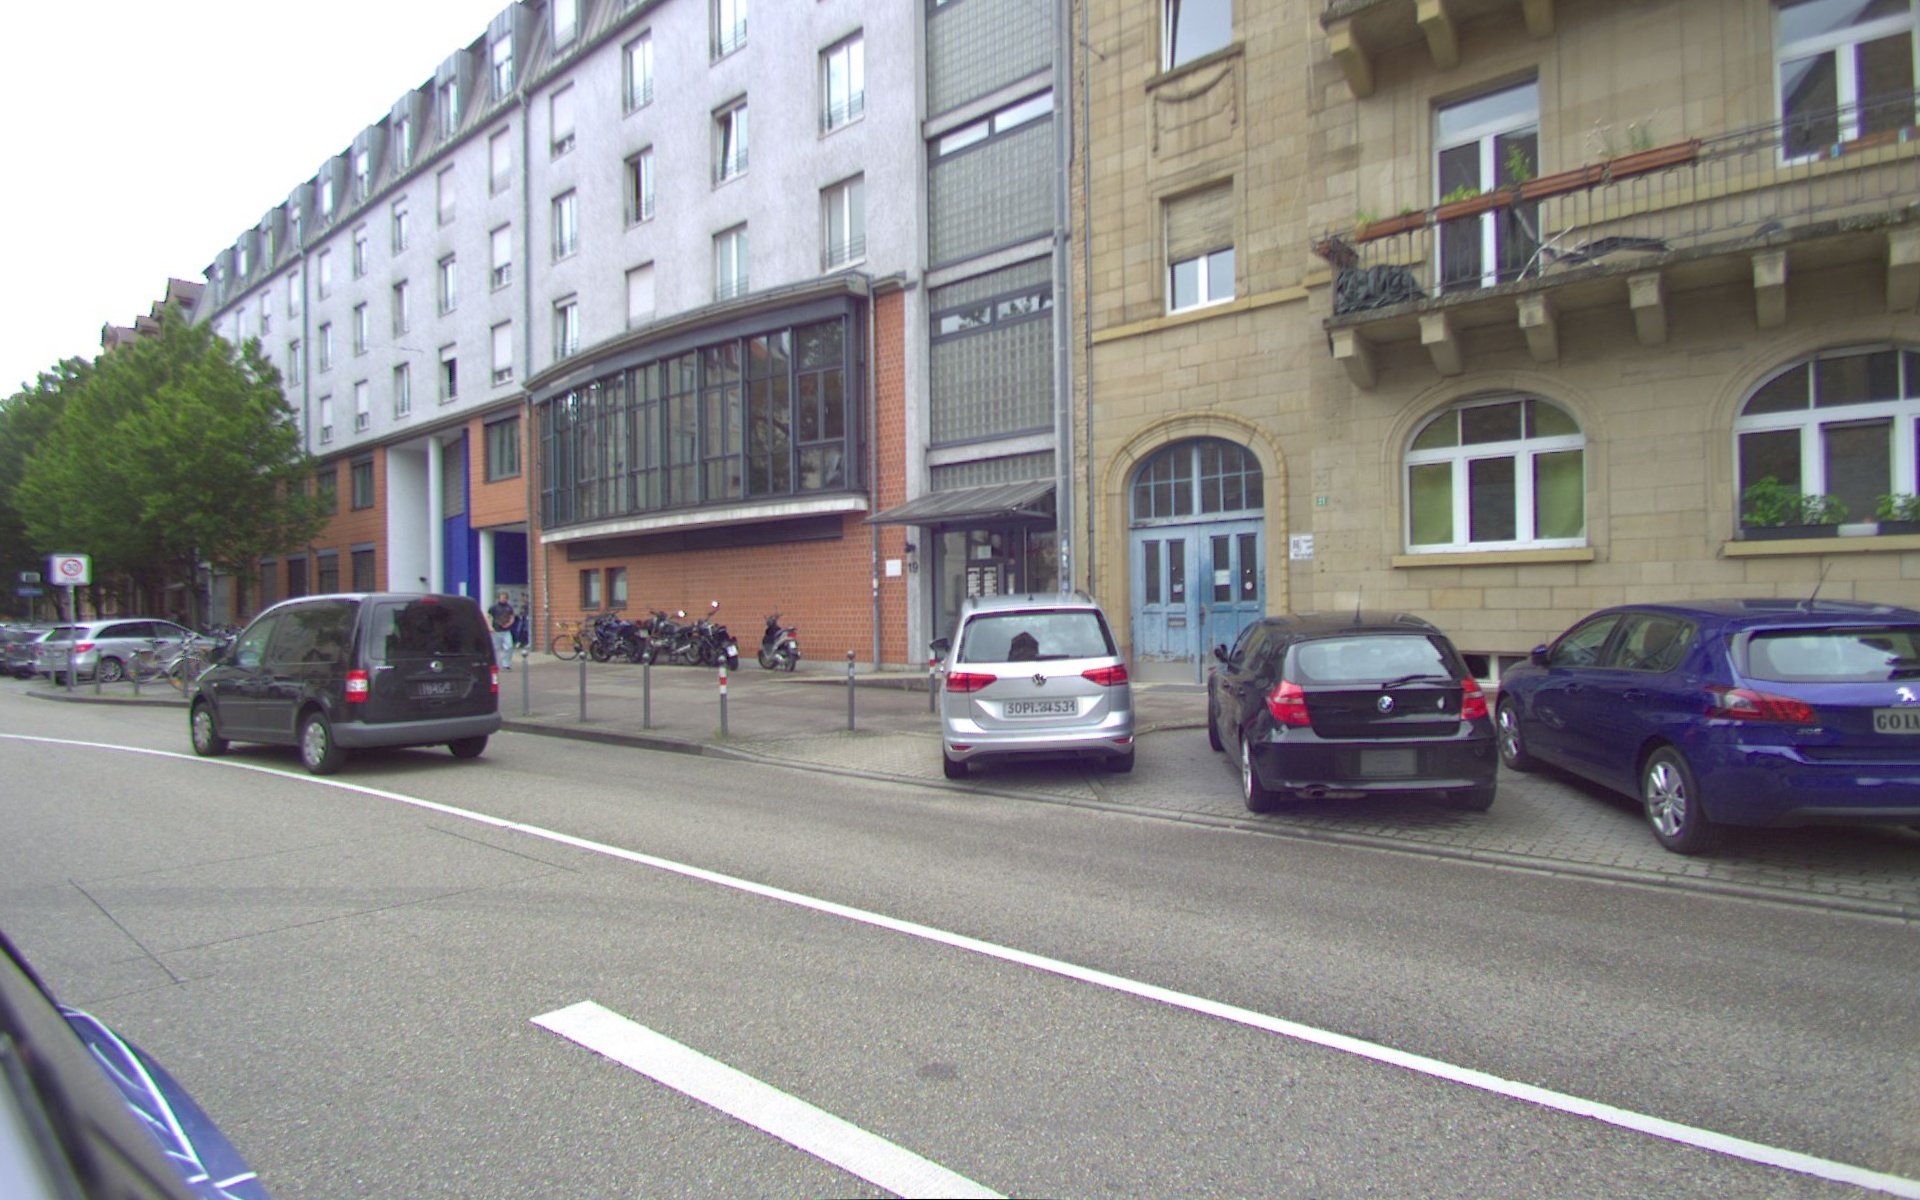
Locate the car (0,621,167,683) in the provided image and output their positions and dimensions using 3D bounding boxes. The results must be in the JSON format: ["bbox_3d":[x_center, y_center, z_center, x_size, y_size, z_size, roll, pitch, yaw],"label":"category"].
[{"bbox_3d":[-25.946,1.460,29.580,1.983,1.641,3.977,-1,-1,18],"label":"car"}]

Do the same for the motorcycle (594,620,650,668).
[{"bbox_3d":[-7.989,1.023,23.868,1.762,1.106,0.440,-2,-1,42],"label":"motorcycle"}]

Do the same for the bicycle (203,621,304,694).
[{"bbox_3d":[-14.394,1.145,20.648,0.416,1.363,1.610,-2,1,39],"label":"bicycle"}]

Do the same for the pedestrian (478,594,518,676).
[{"bbox_3d":[-10.564,0.784,23.157,0.641,1.837,0.613,-2,-1,41],"label":"pedestrian"}]

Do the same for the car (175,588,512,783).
[{"bbox_3d":[-6.960,0.845,11.306,4.118,1.817,1.679,-1,-2,34],"label":"car"}]

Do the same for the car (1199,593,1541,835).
[{"bbox_3d":[3.087,0.740,8.498,1.713,1.449,3.990,-2,1,9],"label":"car"}]

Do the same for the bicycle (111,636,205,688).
[{"bbox_3d":[-18.438,1.408,23.298,0.416,1.082,1.610,-2,1,39],"label":"bicycle"}]

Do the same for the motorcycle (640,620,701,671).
[{"bbox_3d":[-6.464,1.004,22.564,1.762,1.106,0.440,-2,-1,42],"label":"motorcycle"}]

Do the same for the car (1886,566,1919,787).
[{"bbox_3d":[7.537,0.551,5.347,1.681,1.565,3.997,-2,1,3],"label":"car"}]

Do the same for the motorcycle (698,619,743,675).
[{"bbox_3d":[-4.947,0.951,20.831,0.438,1.106,1.768,0,-1,-29],"label":"motorcycle"}]

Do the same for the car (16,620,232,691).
[{"bbox_3d":[-21.292,1.367,25.989,1.757,1.641,3.977,-1,-1,18],"label":"car"}]

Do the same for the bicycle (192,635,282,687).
[{"bbox_3d":[-16.589,1.381,23.239,0.416,1.082,1.610,-2,1,39],"label":"bicycle"}]

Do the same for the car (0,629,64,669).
[{"bbox_3d":[-37.719,1.920,39.405,1.723,1.508,3.977,-1,-1,18],"label":"car"}]

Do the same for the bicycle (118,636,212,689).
[{"bbox_3d":[-18.062,1.405,23.013,0.416,1.082,1.610,-2,1,39],"label":"bicycle"}]

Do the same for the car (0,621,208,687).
[{"bbox_3d":[-23.302,1.413,27.729,1.983,1.641,3.977,-1,-1,18],"label":"car"}]

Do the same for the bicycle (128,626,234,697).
[{"bbox_3d":[-15.599,1.204,20.304,0.416,1.299,1.610,-2,1,39],"label":"bicycle"}]

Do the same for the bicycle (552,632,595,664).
[{"bbox_3d":[-9.815,1.205,25.702,1.581,0.793,0.332,-2,-1,42],"label":"bicycle"}]

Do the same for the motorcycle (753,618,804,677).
[{"bbox_3d":[-3.593,0.914,19.933,0.438,1.106,1.768,0,-1,-29],"label":"motorcycle"}]

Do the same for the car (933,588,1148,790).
[{"bbox_3d":[0.705,0.717,10.355,1.710,1.565,3.999,-2,1,1],"label":"car"}]

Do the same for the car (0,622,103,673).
[{"bbox_3d":[-32.649,1.630,35.139,1.983,1.641,3.977,-1,-1,18],"label":"car"}]

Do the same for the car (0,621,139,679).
[{"bbox_3d":[-28.167,1.500,31.239,1.983,1.641,3.977,-1,-1,18],"label":"car"}]

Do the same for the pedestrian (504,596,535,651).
[{"bbox_3d":[-13.369,0.706,30.709,0.622,1.662,0.677,-1,0,42],"label":"pedestrian"}]

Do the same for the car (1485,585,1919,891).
[{"bbox_3d":[5.215,0.688,6.926,1.804,1.456,3.737,-2,1,10],"label":"car"}]

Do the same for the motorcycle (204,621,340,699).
[{"bbox_3d":[-13.461,1.141,19.854,0.599,1.363,2.096,-2,1,41],"label":"motorcycle"}]
